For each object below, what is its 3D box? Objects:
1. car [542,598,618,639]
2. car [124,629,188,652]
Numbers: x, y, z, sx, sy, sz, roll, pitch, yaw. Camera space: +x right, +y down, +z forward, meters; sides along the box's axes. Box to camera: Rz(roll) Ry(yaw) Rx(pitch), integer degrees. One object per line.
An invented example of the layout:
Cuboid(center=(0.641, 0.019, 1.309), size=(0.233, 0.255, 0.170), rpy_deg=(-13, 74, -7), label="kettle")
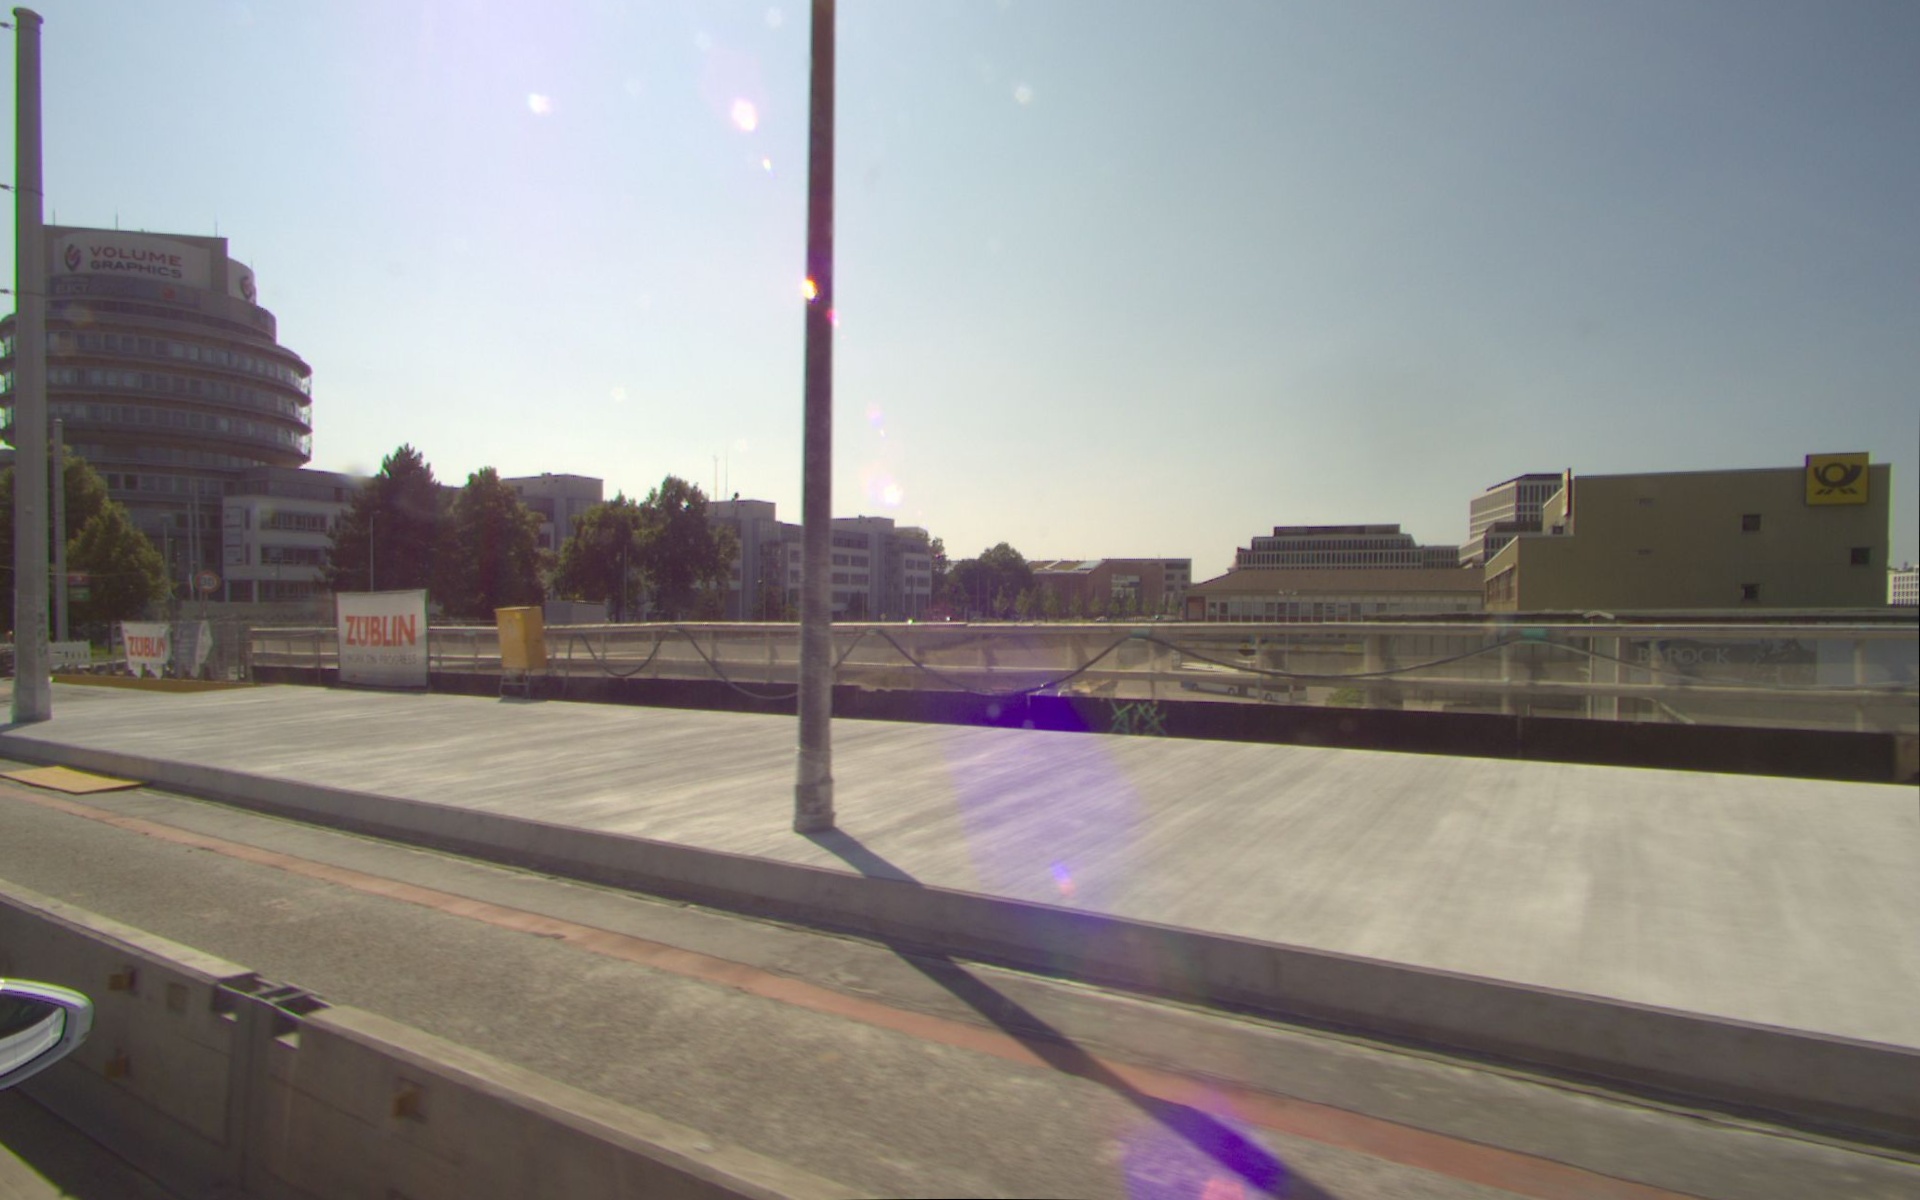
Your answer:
Cuboid(center=(-28.633, 1.422, 75.684), size=(2.303, 2.924, 5.967), rpy_deg=(1, -1, 14), label="car")
Cuboid(center=(-66.919, 3.347, 83.422), size=(1.657, 1.821, 3.807), rpy_deg=(1, -1, 32), label="car")
